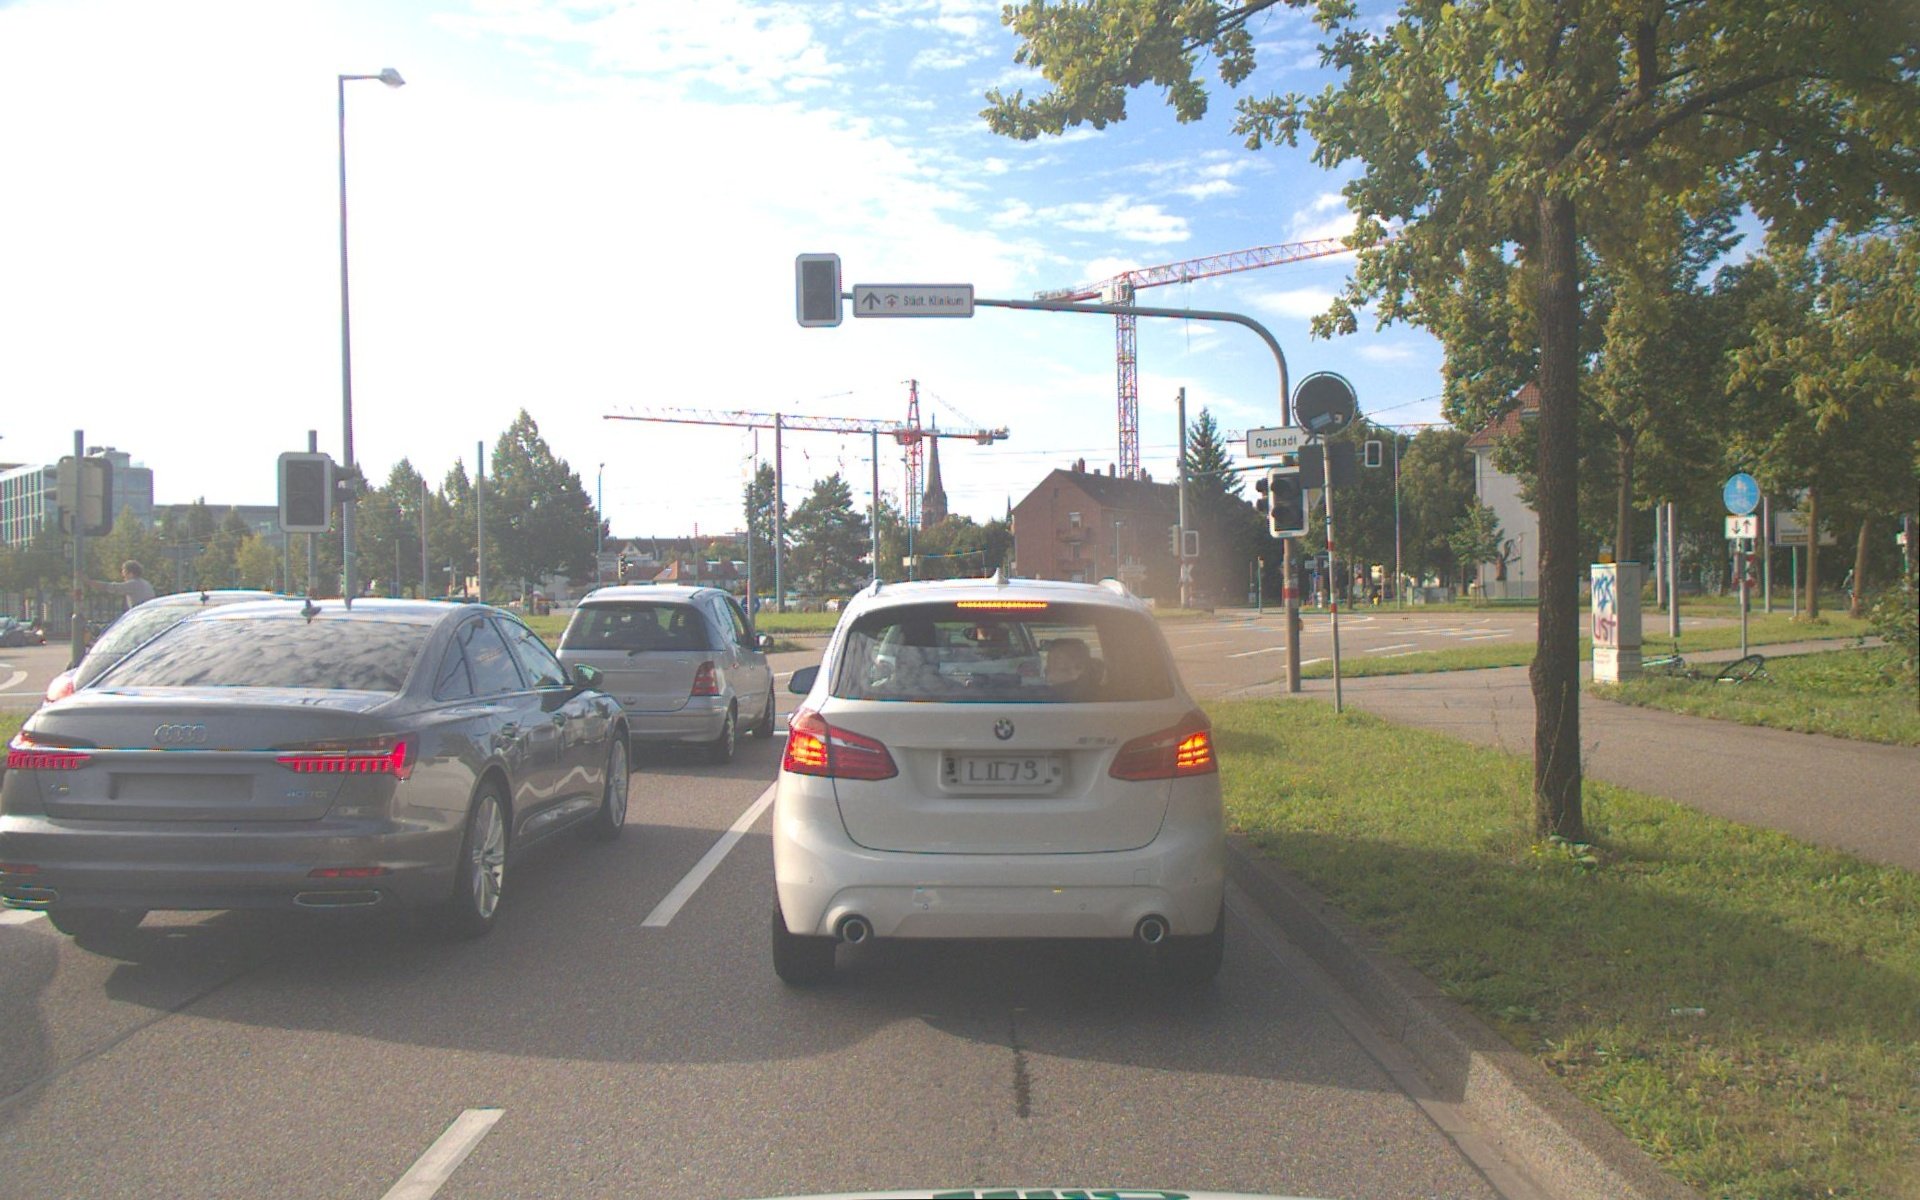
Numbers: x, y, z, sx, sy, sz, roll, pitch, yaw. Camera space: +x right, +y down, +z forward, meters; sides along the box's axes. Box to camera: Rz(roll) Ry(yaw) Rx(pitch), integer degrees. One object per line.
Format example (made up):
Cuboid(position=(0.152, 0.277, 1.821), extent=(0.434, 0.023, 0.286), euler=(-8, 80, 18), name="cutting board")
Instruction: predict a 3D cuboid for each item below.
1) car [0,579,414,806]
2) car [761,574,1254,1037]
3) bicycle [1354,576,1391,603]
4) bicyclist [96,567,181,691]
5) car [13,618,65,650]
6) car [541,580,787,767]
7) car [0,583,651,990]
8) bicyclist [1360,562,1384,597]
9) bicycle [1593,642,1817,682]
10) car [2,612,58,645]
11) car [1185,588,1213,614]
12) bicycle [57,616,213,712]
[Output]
Cuboid(position=(-5.796, 0.636, 13.244), extent=(1.646, 1.549, 3.809), euler=(0, 0, -1), name="car")
Cuboid(position=(0.132, 0.701, 7.723), extent=(1.694, 1.585, 4.057), euler=(0, 0, -1), name="car")
Cuboid(position=(24.906, -0.617, 99.897), extent=(0.884, 1.557, 2.266), euler=(2, -1, -30), name="bicycle")
Cuboid(position=(-10.640, 0.364, 21.445), extent=(0.835, 1.553, 0.737), euler=(-1, 0, -17), name="bicyclist")
Cuboid(position=(-53.218, 1.955, 95.526), extent=(1.699, 1.721, 3.936), euler=(-1, 0, -43), name="car")
Cuboid(position=(-2.741, 0.623, 16.148), extent=(1.694, 1.585, 4.057), euler=(0, 0, -1), name="car")
Cuboid(position=(-2.902, 0.703, 8.458), extent=(1.851, 1.509, 4.612), euler=(0, 0, -1), name="car")
Cuboid(position=(24.894, -1.219, 99.939), extent=(0.811, 2.049, 1.212), euler=(2, -2, -31), name="bicyclist")
Cuboid(position=(9.480, 0.779, 21.216), extent=(1.382, 0.392, 2.569), euler=(-1, 0, -12), name="bicycle")
Cuboid(position=(-48.413, 1.470, 86.164), extent=(1.759, 1.602, 3.979), euler=(-1, 0, -18), name="car")
Cuboid(position=(15.654, 0.072, 108.227), extent=(1.536, 1.601, 3.201), euler=(-2, 0, 13), name="car")
Cuboid(position=(-10.663, 0.813, 21.431), extent=(1.698, 1.184, 0.653), euler=(-1, 0, -17), name="bicycle")
